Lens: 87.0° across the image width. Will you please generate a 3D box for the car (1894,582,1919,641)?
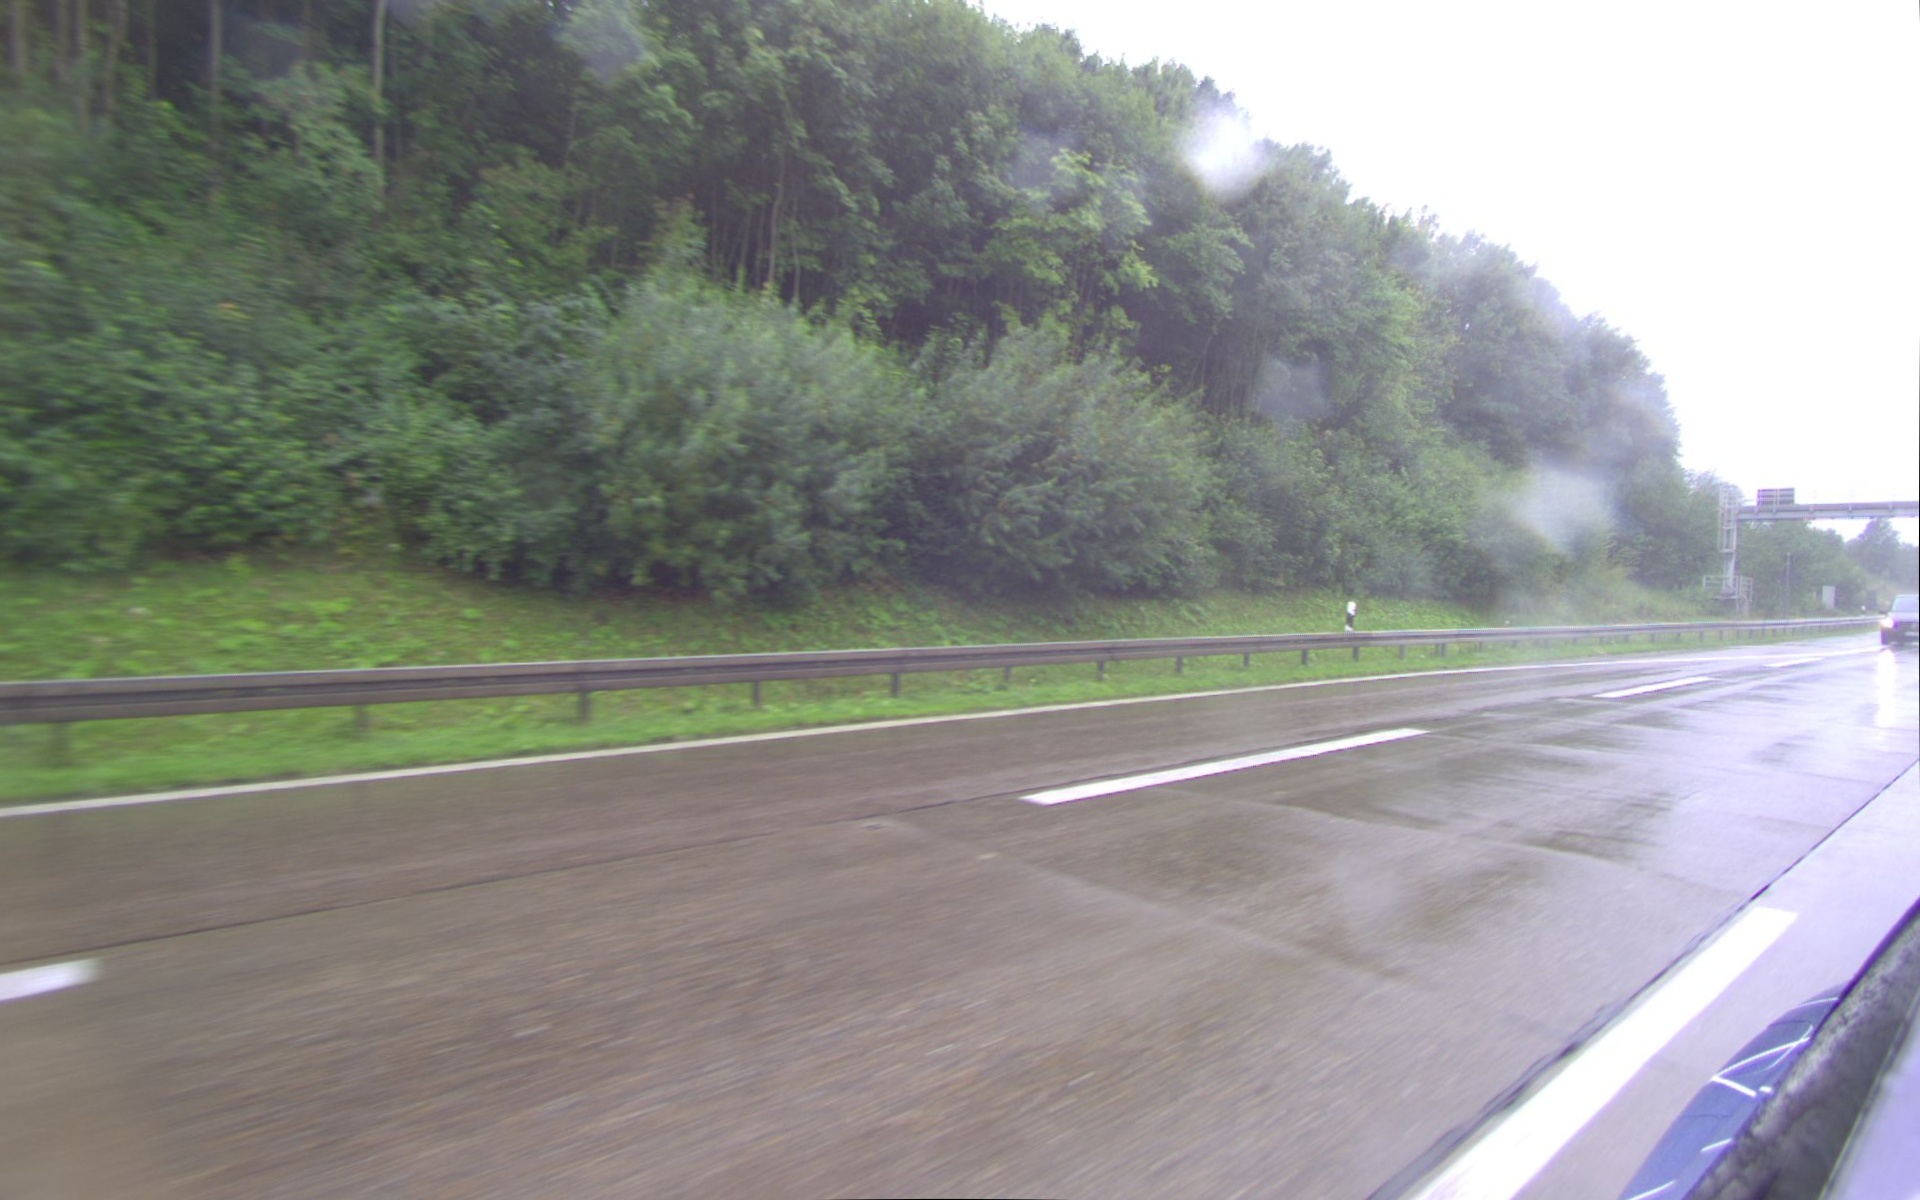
[{"bbox_3d":[34.629,0.407,35.707,3.927,2.039,1.859,0,0,-38],"label":"car"}]
